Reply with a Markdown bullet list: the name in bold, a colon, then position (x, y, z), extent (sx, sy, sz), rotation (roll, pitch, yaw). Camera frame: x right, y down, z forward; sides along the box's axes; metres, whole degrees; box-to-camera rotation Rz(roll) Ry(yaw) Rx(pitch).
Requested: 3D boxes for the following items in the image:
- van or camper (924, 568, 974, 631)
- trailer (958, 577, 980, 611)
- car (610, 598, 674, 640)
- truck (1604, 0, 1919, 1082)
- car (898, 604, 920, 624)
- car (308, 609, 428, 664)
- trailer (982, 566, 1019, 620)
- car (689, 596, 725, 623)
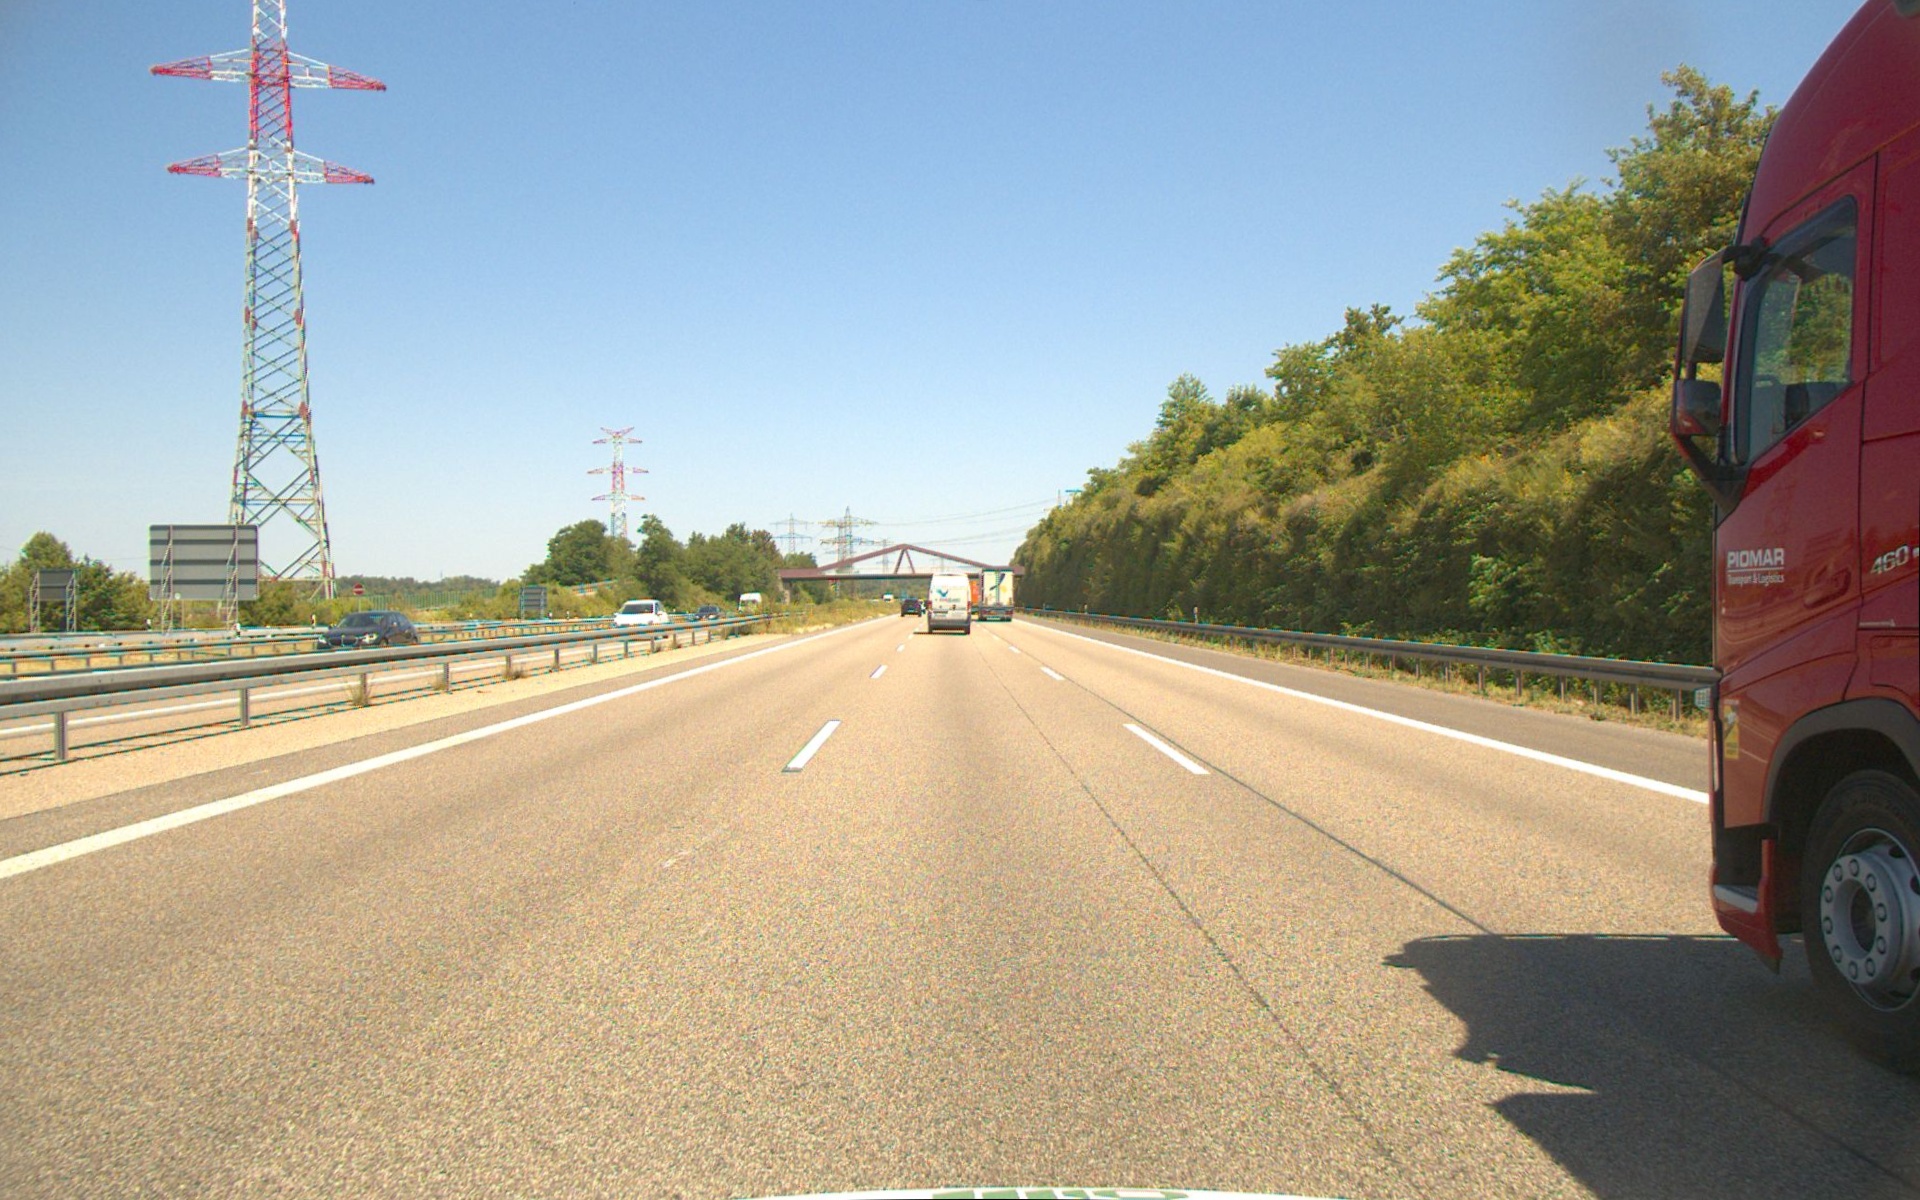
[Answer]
- **van or camper**: position (-0.533, -0.011, 78.398), extent (2.185, 2.831, 5.422), rotation (1, 0, -1)
- **trailer**: position (1.060, -0.653, 199.454), extent (2.583, 3.965, 7.068), rotation (1, 0, 0)
- **car**: position (-12.811, 0.742, 66.801), extent (1.683, 1.556, 4.665), rotation (-2, 0, -1)
- **truck**: position (4.220, -0.499, 3.961), extent (2.448, 3.988, 7.095), rotation (1, 0, -1)
- **car**: position (-4.877, 1.324, 158.617), extent (1.941, 1.849, 3.813), rotation (2, 0, 1)
- **car**: position (-16.973, 1.010, 47.660), extent (1.831, 1.422, 4.545), rotation (-2, 0, -1)
- **trailer**: position (3.218, -0.571, 134.887), extent (2.583, 4.131, 12.365), rotation (1, 0, 0)
- **car**: position (-18.290, 0.687, 119.835), extent (1.914, 1.842, 5.045), rotation (2, 0, -2)
